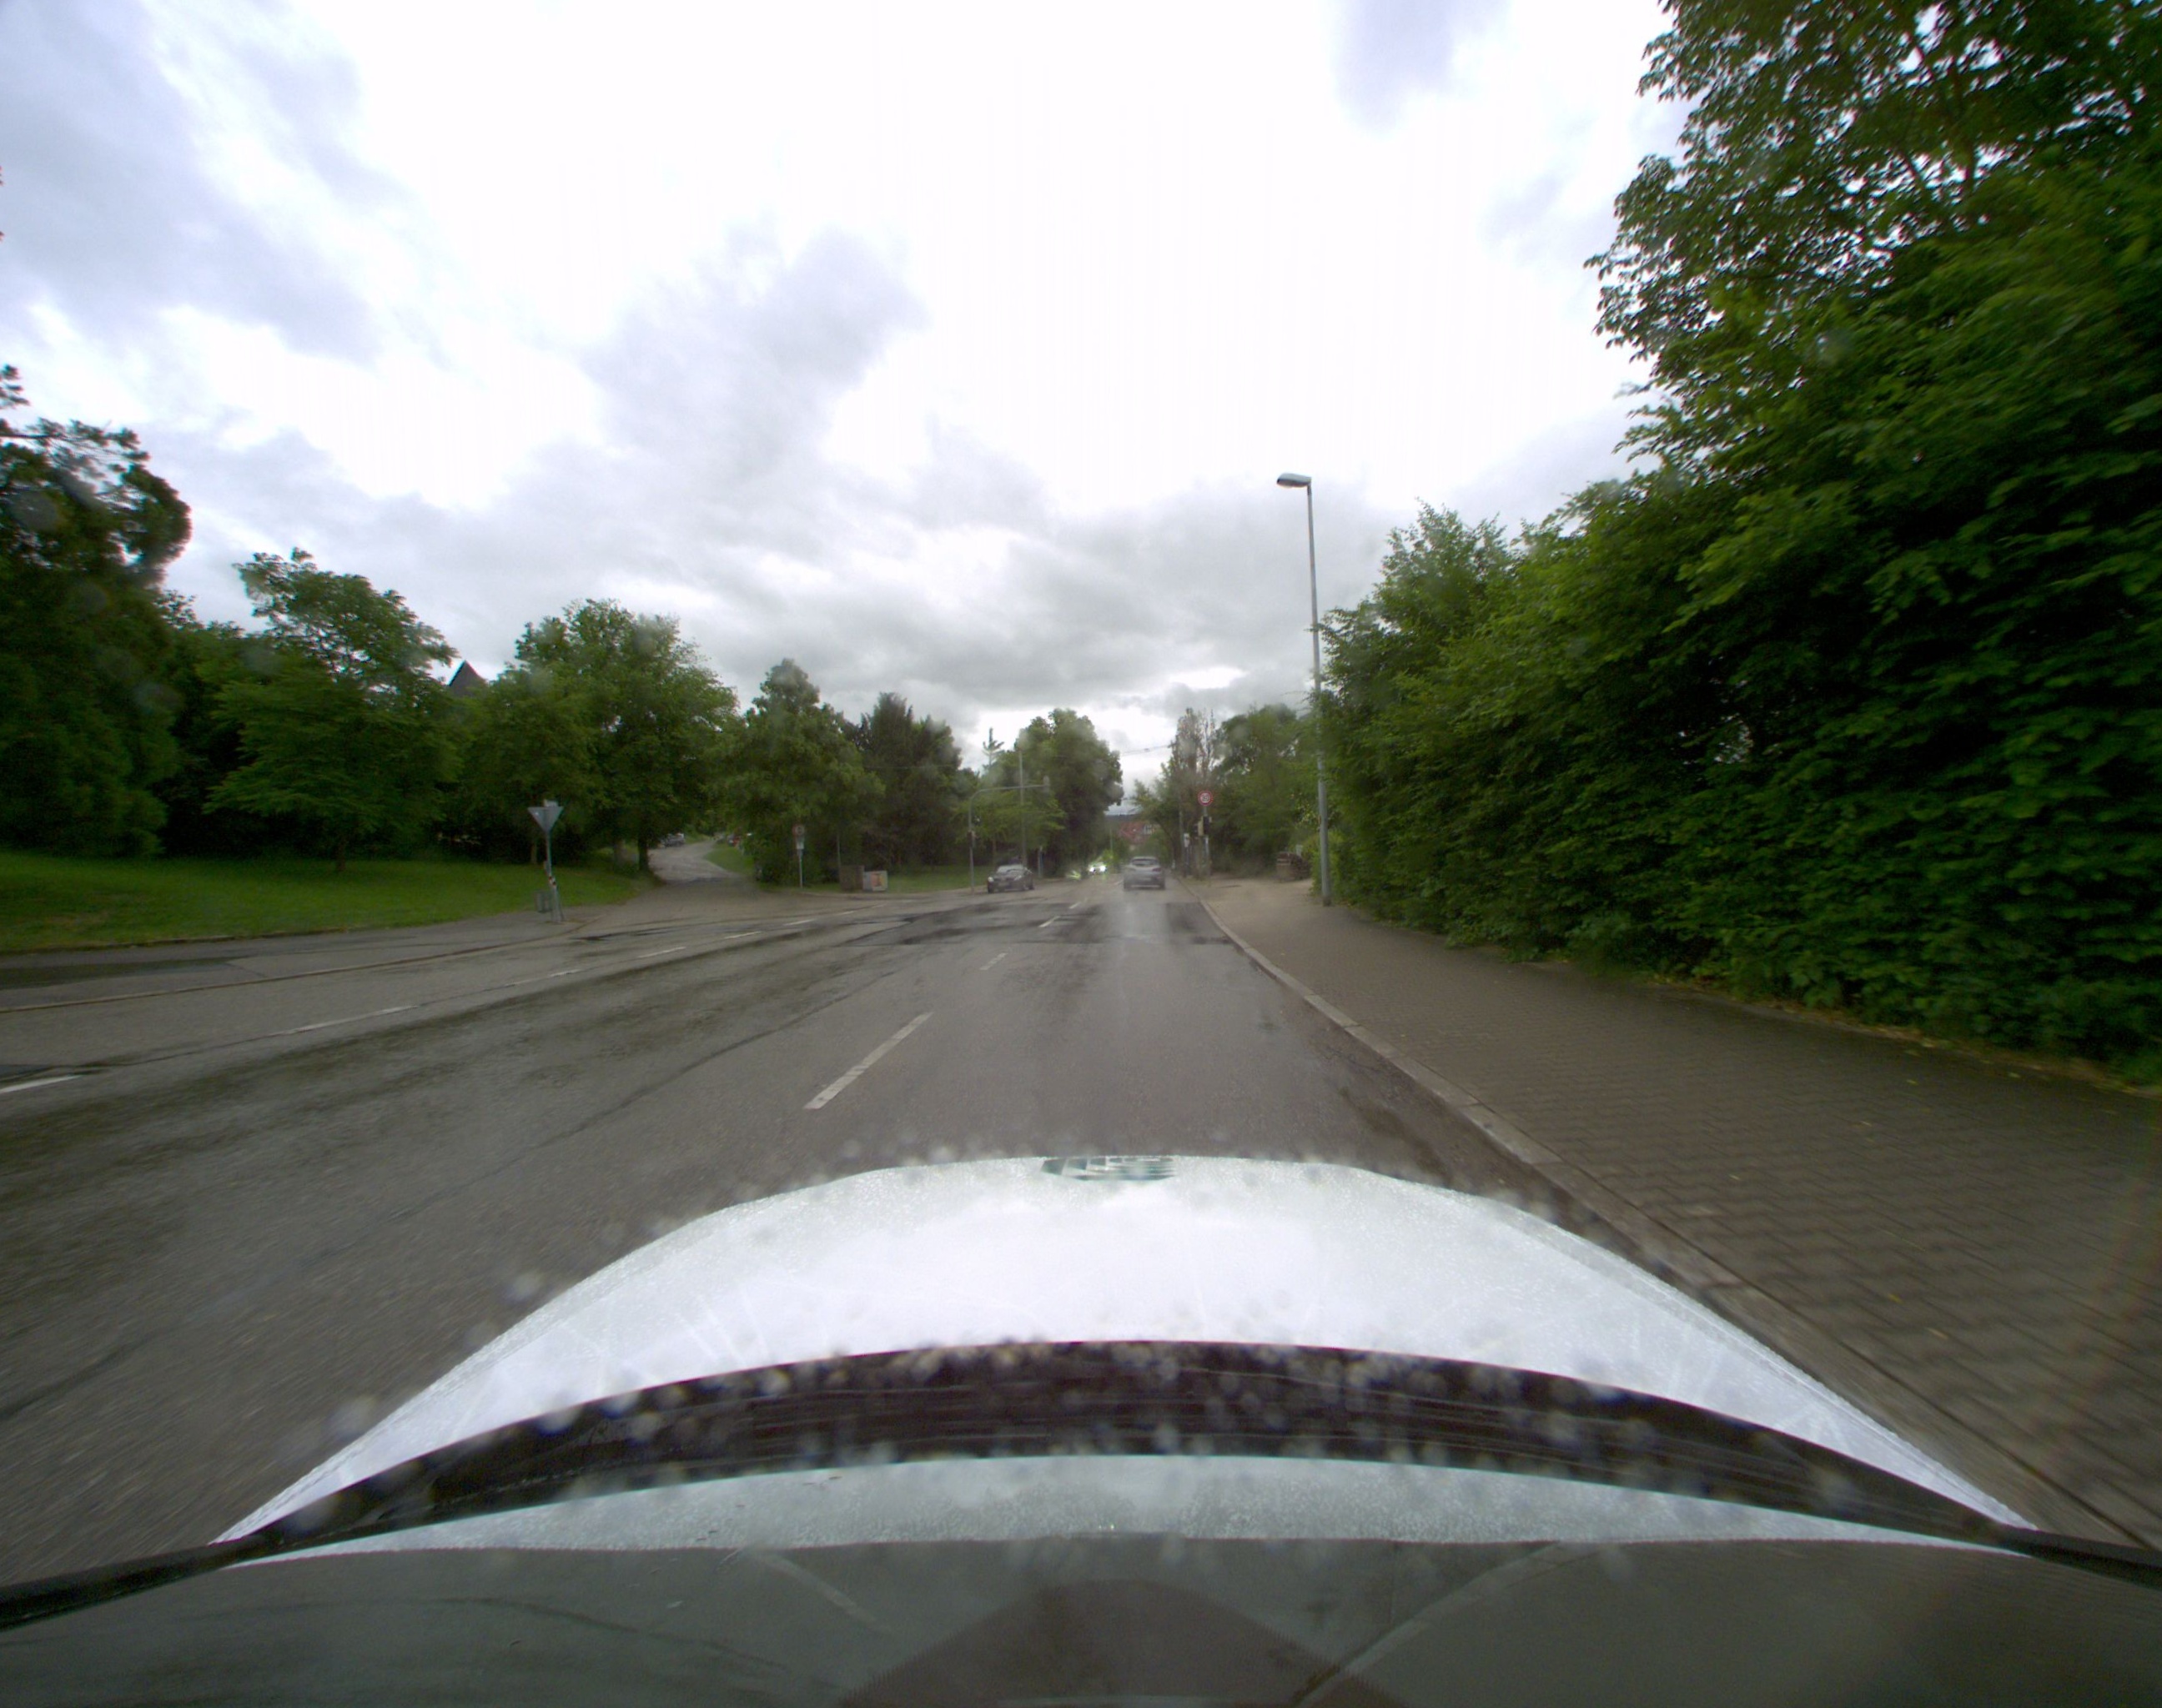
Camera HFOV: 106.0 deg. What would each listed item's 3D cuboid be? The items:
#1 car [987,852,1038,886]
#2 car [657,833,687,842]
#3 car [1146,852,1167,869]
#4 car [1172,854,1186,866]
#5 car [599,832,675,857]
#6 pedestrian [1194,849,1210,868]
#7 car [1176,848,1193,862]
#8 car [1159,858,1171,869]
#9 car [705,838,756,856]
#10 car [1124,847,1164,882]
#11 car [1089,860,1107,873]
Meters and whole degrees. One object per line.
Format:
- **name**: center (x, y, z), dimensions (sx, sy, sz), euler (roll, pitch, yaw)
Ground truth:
- **car**: center (-3.236, 0.689, 39.161), dimensions (1.652, 1.306, 4.090), euler (-4, 1, 6)
- **car**: center (-61.632, -2.476, 122.866), dimensions (4.009, 1.384, 1.712), euler (0, 0, -27)
- **car**: center (6.526, 0.546, 70.885), dimensions (1.714, 1.464, 4.005), euler (1, 0, 4)
- **car**: center (13.015, 0.780, 108.765), dimensions (1.713, 1.464, 4.007), euler (-4, 0, 6)
- **car**: center (-28.585, -0.592, 52.571), dimensions (3.906, 1.486, 1.924), euler (-2, 0, -17)
- **pedestrian**: center (9.069, 0.364, 60.863), dimensions (1.066, 1.355, 0.921), euler (-4, -1, 12)
- **car**: center (11.867, 0.057, 93.560), dimensions (1.713, 1.464, 4.007), euler (-4, 0, 6)
- **car**: center (12.241, 1.386, 118.614), dimensions (1.714, 1.464, 4.005), euler (1, 0, 4)
- **car**: center (-30.920, -0.600, 71.980), dimensions (3.906, 1.486, 1.924), euler (-2, 0, -17)
- **car**: center (2.868, 0.451, 37.220), dimensions (1.746, 1.464, 4.005), euler (0, 1, 4)
- **car**: center (1.924, 1.385, 92.049), dimensions (1.713, 1.399, 4.006), euler (0, 0, 6)
